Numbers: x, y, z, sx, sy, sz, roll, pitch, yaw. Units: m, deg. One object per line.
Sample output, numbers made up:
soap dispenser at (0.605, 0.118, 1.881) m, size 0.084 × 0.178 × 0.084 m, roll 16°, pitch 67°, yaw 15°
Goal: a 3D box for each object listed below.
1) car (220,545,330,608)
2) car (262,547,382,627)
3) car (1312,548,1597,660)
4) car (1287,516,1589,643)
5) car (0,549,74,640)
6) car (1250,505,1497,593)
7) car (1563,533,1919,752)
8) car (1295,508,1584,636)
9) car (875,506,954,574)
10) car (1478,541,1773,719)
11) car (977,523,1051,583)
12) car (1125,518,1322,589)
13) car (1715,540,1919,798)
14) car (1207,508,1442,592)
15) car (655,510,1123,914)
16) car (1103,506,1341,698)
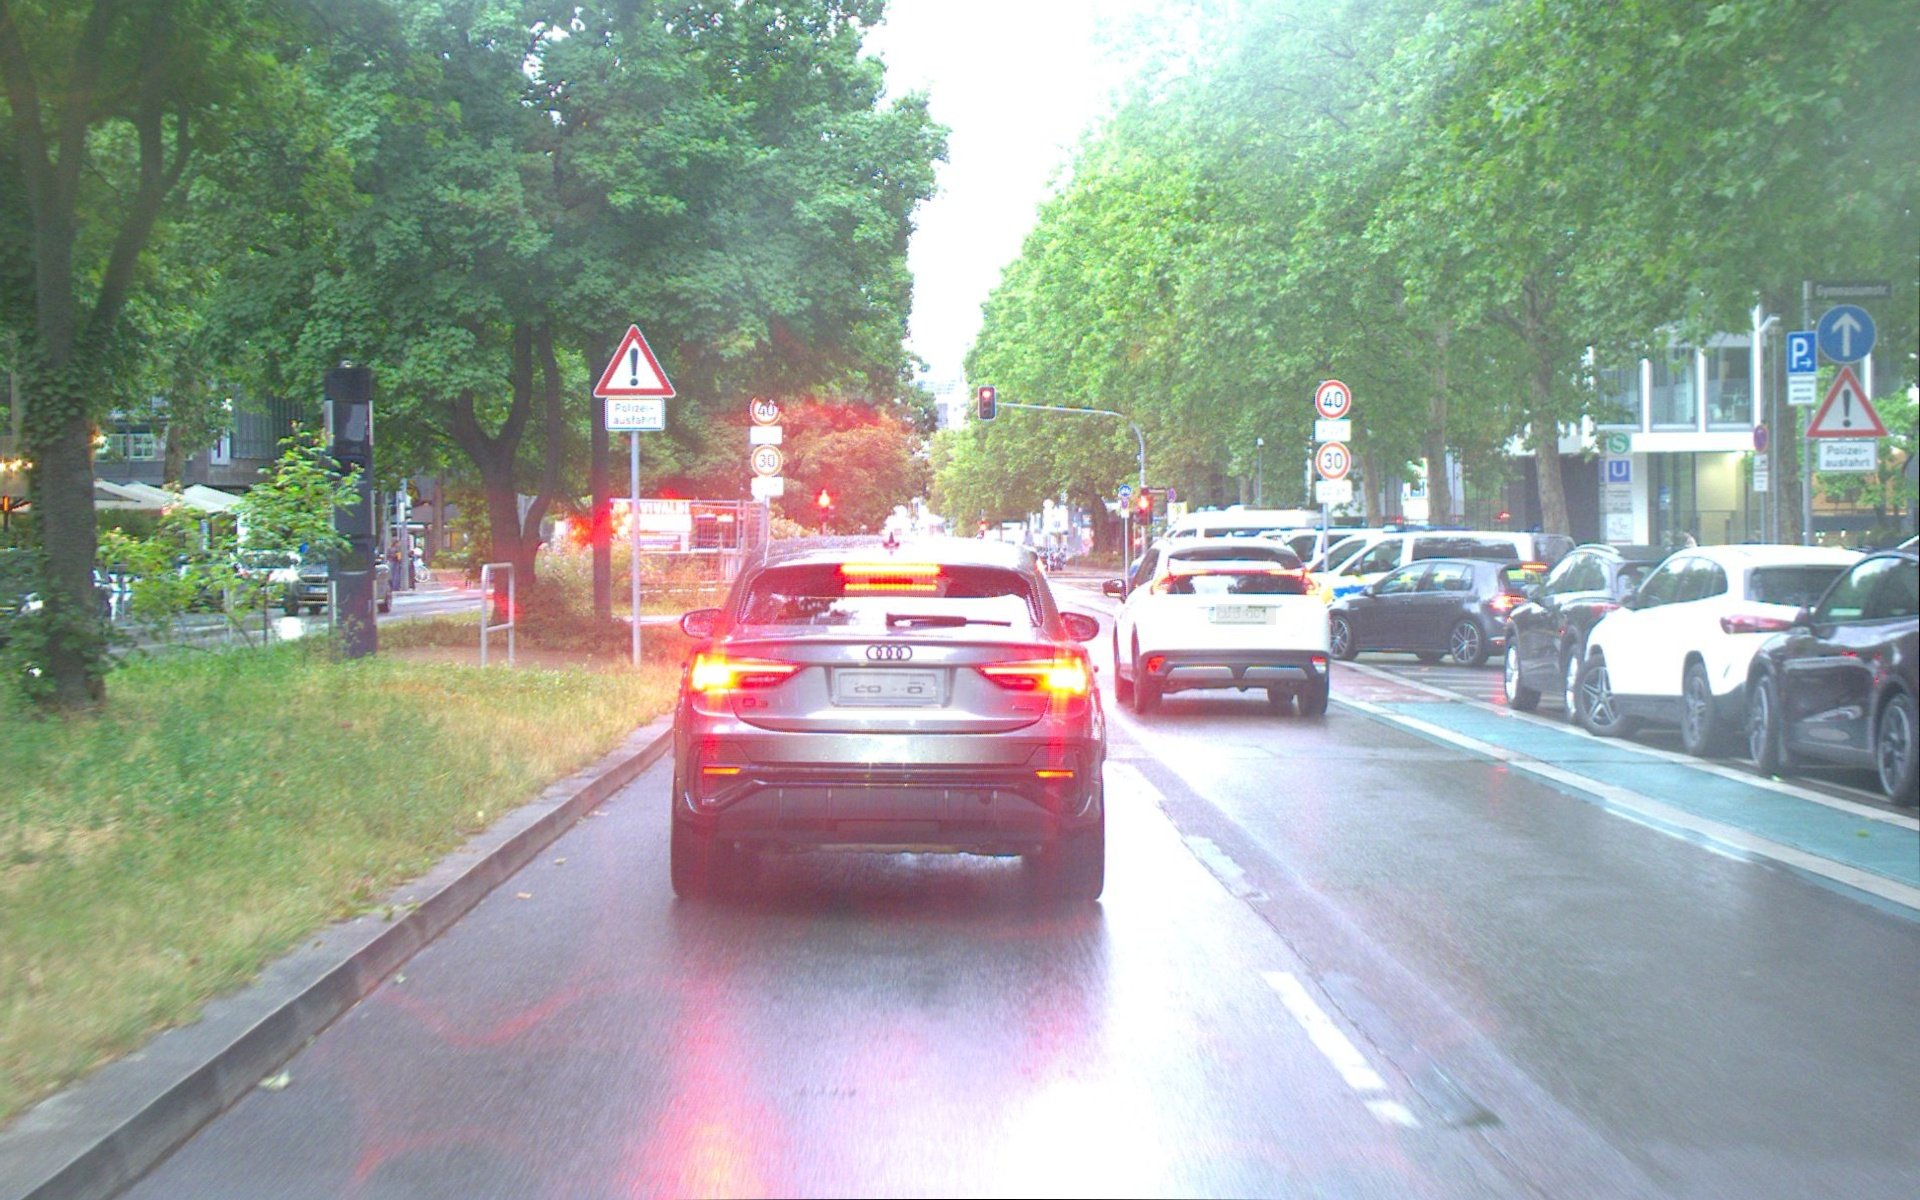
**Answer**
car at (-17.213, -0.581, 86.574) m, size 1.726 × 1.513 × 4.000 m, roll 1°, pitch 0°, yaw 3°
car at (-14.227, -0.297, 76.870) m, size 1.760 × 1.698 × 4.333 m, roll 1°, pitch 0°, yaw 1°
car at (6.532, 0.035, 45.748) m, size 1.558 × 1.374 × 3.870 m, roll 1°, pitch 0°, yaw -33°
car at (7.992, -0.348, 57.654) m, size 4.602 × 2.007 × 1.964 m, roll 2°, pitch 0°, yaw 37°
car at (-13.929, -0.105, 49.913) m, size 1.688 × 1.253 × 3.646 m, roll 1°, pitch 0°, yaw -9°
car at (8.542, -1.055, 71.089) m, size 4.645 × 1.700 × 1.997 m, roll 2°, pitch 0°, yaw 27°
car at (6.173, 0.295, 27.145) m, size 1.727 × 1.566 × 4.074 m, roll 1°, pitch 0°, yaw -5°
car at (8.904, -0.529, 63.943) m, size 4.889 × 2.246 × 1.997 m, roll 2°, pitch 0°, yaw 28°
car at (-1.236, -1.560, 90.829) m, size 1.993 × 1.720 × 4.000 m, roll 1°, pitch 0°, yaw -2°
car at (6.143, 0.245, 32.164) m, size 1.695 × 1.518 × 4.024 m, roll 1°, pitch 0°, yaw -4°
car at (1.528, -1.333, 99.241) m, size 1.993 × 1.645 × 4.000 m, roll 1°, pitch 0°, yaw -1°
car at (6.801, -1.203, 88.783) m, size 4.645 × 1.700 × 1.997 m, roll 2°, pitch 0°, yaw 27°
car at (6.481, 0.408, 22.446) m, size 1.867 × 1.515 × 4.559 m, roll 1°, pitch 0°, yaw -3°
car at (7.921, -1.084, 74.753) m, size 4.645 × 1.700 × 1.997 m, roll 2°, pitch 0°, yaw 27°
car at (-0.351, 0.418, 15.730) m, size 1.849 × 1.596 × 4.000 m, roll 1°, pitch 1°, yaw -2°
car at (2.459, 0.006, 33.174) m, size 1.878 × 1.691 × 4.000 m, roll 1°, pitch 0°, yaw -1°
